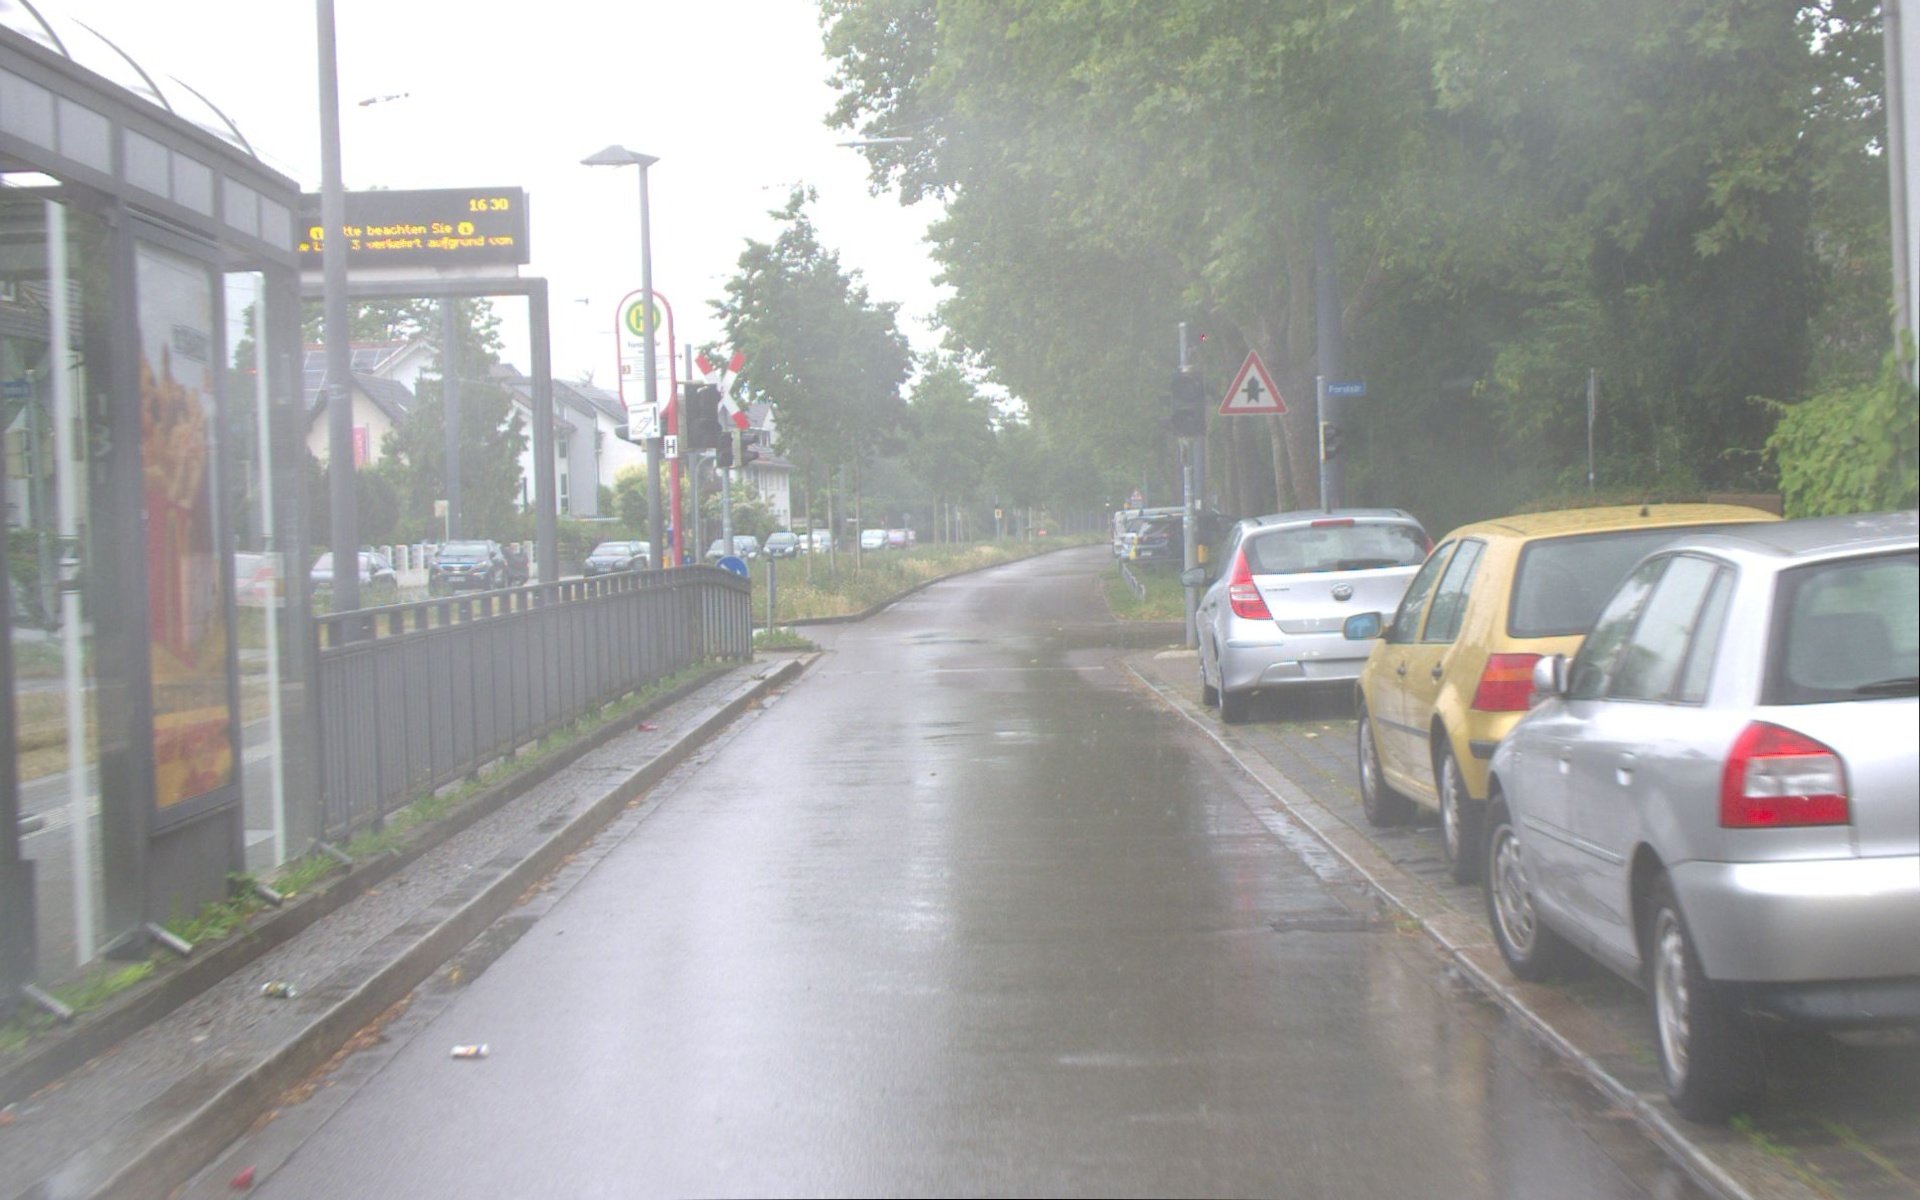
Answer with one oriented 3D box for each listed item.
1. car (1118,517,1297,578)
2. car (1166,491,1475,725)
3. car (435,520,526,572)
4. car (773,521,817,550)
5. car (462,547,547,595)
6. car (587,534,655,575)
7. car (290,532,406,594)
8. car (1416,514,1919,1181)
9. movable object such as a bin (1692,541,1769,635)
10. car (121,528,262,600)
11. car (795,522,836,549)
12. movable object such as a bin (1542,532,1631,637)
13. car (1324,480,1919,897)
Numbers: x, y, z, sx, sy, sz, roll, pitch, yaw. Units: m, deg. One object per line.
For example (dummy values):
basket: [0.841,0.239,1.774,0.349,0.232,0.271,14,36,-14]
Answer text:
car: [6.135,-1.296,85.231,3.986,1.448,2.001,-1,1,-14]
car: [2.593,0.042,25.545,1.807,1.462,3.794,-5,0,1]
car: [-14.221,-1.587,102.154,1.928,1.481,4.000,-1,1,3]
car: [-8.892,-3.460,185.320,1.928,1.481,4.000,-1,1,3]
car: [-14.428,-0.920,109.010,1.928,1.481,4.000,-1,1,3]
car: [-12.655,-1.694,128.587,1.928,1.481,4.000,-1,1,3]
car: [-15.158,-0.919,85.343,1.928,1.481,4.000,-1,1,3]
car: [2.480,0.490,9.871,1.650,1.400,4.649,-5,0,1]
movable object such as a bin: [7.677,-0.124,34.276,0.536,0.896,0.739,-4,1,0]
car: [-16.585,-0.773,74.351,1.928,1.481,4.000,-1,1,3]
car: [-8.258,-3.689,197.131,1.928,1.481,4.000,-1,1,3]
movable object such as a bin: [6.402,-0.160,35.175,0.692,1.018,0.824,-4,1,0]
car: [2.696,0.312,14.639,1.807,1.400,3.794,-5,0,1]
